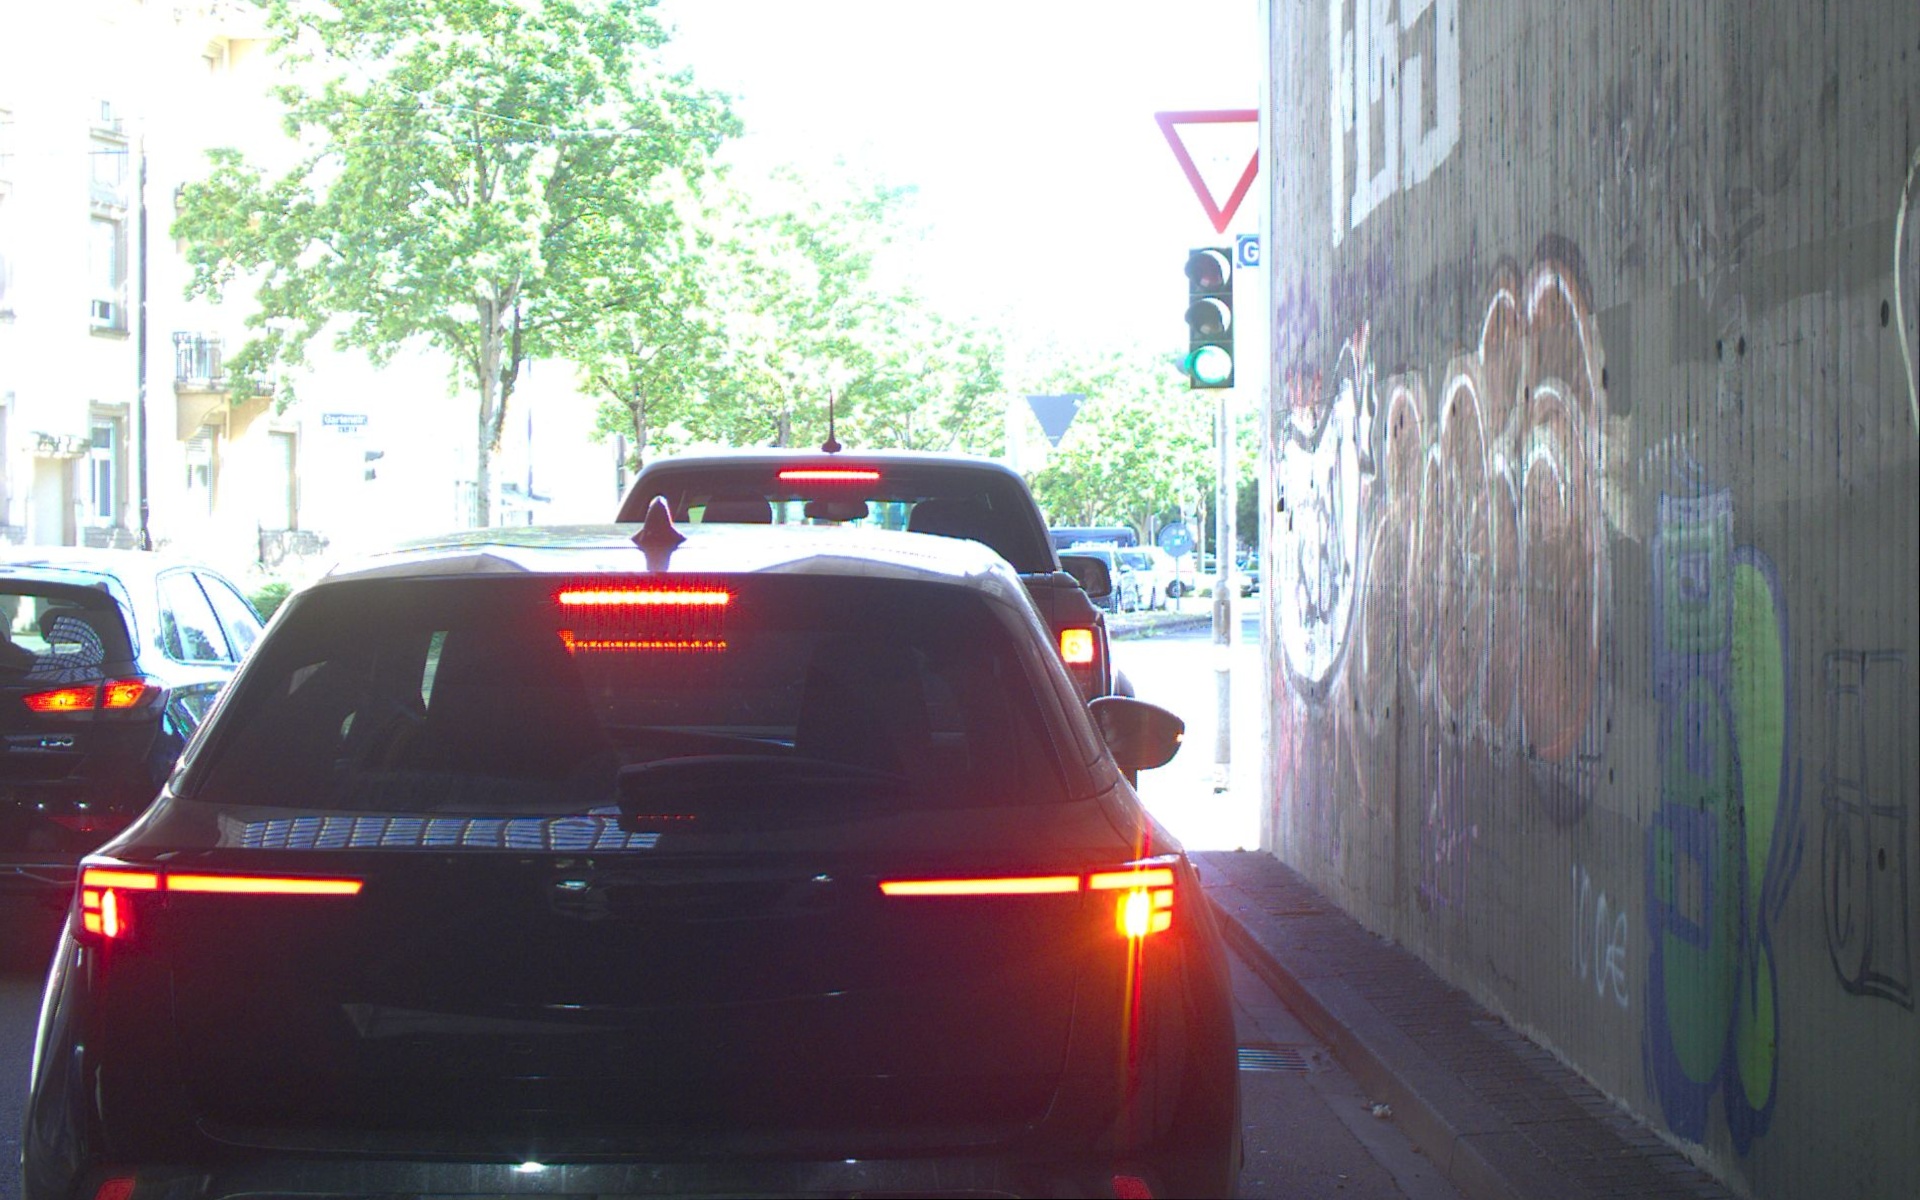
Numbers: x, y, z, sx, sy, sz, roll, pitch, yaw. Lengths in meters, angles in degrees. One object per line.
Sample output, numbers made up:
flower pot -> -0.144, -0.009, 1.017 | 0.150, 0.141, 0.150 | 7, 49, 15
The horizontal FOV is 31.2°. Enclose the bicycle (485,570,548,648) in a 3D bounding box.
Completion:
bicycle -> -6.409, 0.121, 49.728 | 0.525, 1.086, 1.860 | 0, 1, 5

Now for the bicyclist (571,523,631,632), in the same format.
bicyclist -> -5.538, -0.351, 53.095 | 0.782, 1.654, 1.031 | 0, 1, 1

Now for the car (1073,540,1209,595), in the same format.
car -> 7.069, -1.263, 134.190 | 4.883, 2.076, 1.986 | -1, 0, -25

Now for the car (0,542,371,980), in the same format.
car -> -3.564, 0.501, 13.550 | 1.801, 1.446, 4.326 | 0, 1, -1

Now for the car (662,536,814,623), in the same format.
car -> -3.797, -0.372, 59.374 | 1.658, 1.436, 3.461 | 0, 1, 14

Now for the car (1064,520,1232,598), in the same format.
car -> 6.341, -1.391, 116.107 | 5.259, 2.537, 1.986 | -1, 0, -15

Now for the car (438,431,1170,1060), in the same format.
car -> -0.519, 0.382, 12.556 | 2.133, 1.829, 4.941 | 0, 1, -1

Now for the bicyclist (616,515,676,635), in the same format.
bicyclist -> -4.556, -0.372, 49.925 | 0.745, 1.705, 0.967 | 0, 3, 2

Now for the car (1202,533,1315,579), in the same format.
car -> 13.968, -2.072, 160.899 | 4.882, 2.076, 1.986 | -1, 0, -14

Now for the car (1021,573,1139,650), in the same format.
car -> 2.406, 0.209, 68.290 | 1.708, 1.447, 3.849 | 0, 1, 12

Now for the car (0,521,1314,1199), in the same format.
car -> -0.460, 0.625, 6.325 | 1.781, 1.512, 3.756 | 0, 1, -1

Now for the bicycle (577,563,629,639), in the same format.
bicycle -> -5.500, 0.009, 53.002 | 0.541, 1.119, 2.058 | 0, 1, 1

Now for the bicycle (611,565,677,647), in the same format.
bicycle -> -4.572, 0.082, 49.909 | 0.698, 1.086, 1.860 | 0, 3, 3

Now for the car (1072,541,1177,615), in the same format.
car -> 3.616, -0.503, 75.035 | 1.705, 1.507, 3.861 | -2, 1, 11

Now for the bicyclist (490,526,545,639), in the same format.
bicyclist -> -6.409, -0.260, 49.796 | 0.606, 1.627, 0.910 | 0, 1, 4
